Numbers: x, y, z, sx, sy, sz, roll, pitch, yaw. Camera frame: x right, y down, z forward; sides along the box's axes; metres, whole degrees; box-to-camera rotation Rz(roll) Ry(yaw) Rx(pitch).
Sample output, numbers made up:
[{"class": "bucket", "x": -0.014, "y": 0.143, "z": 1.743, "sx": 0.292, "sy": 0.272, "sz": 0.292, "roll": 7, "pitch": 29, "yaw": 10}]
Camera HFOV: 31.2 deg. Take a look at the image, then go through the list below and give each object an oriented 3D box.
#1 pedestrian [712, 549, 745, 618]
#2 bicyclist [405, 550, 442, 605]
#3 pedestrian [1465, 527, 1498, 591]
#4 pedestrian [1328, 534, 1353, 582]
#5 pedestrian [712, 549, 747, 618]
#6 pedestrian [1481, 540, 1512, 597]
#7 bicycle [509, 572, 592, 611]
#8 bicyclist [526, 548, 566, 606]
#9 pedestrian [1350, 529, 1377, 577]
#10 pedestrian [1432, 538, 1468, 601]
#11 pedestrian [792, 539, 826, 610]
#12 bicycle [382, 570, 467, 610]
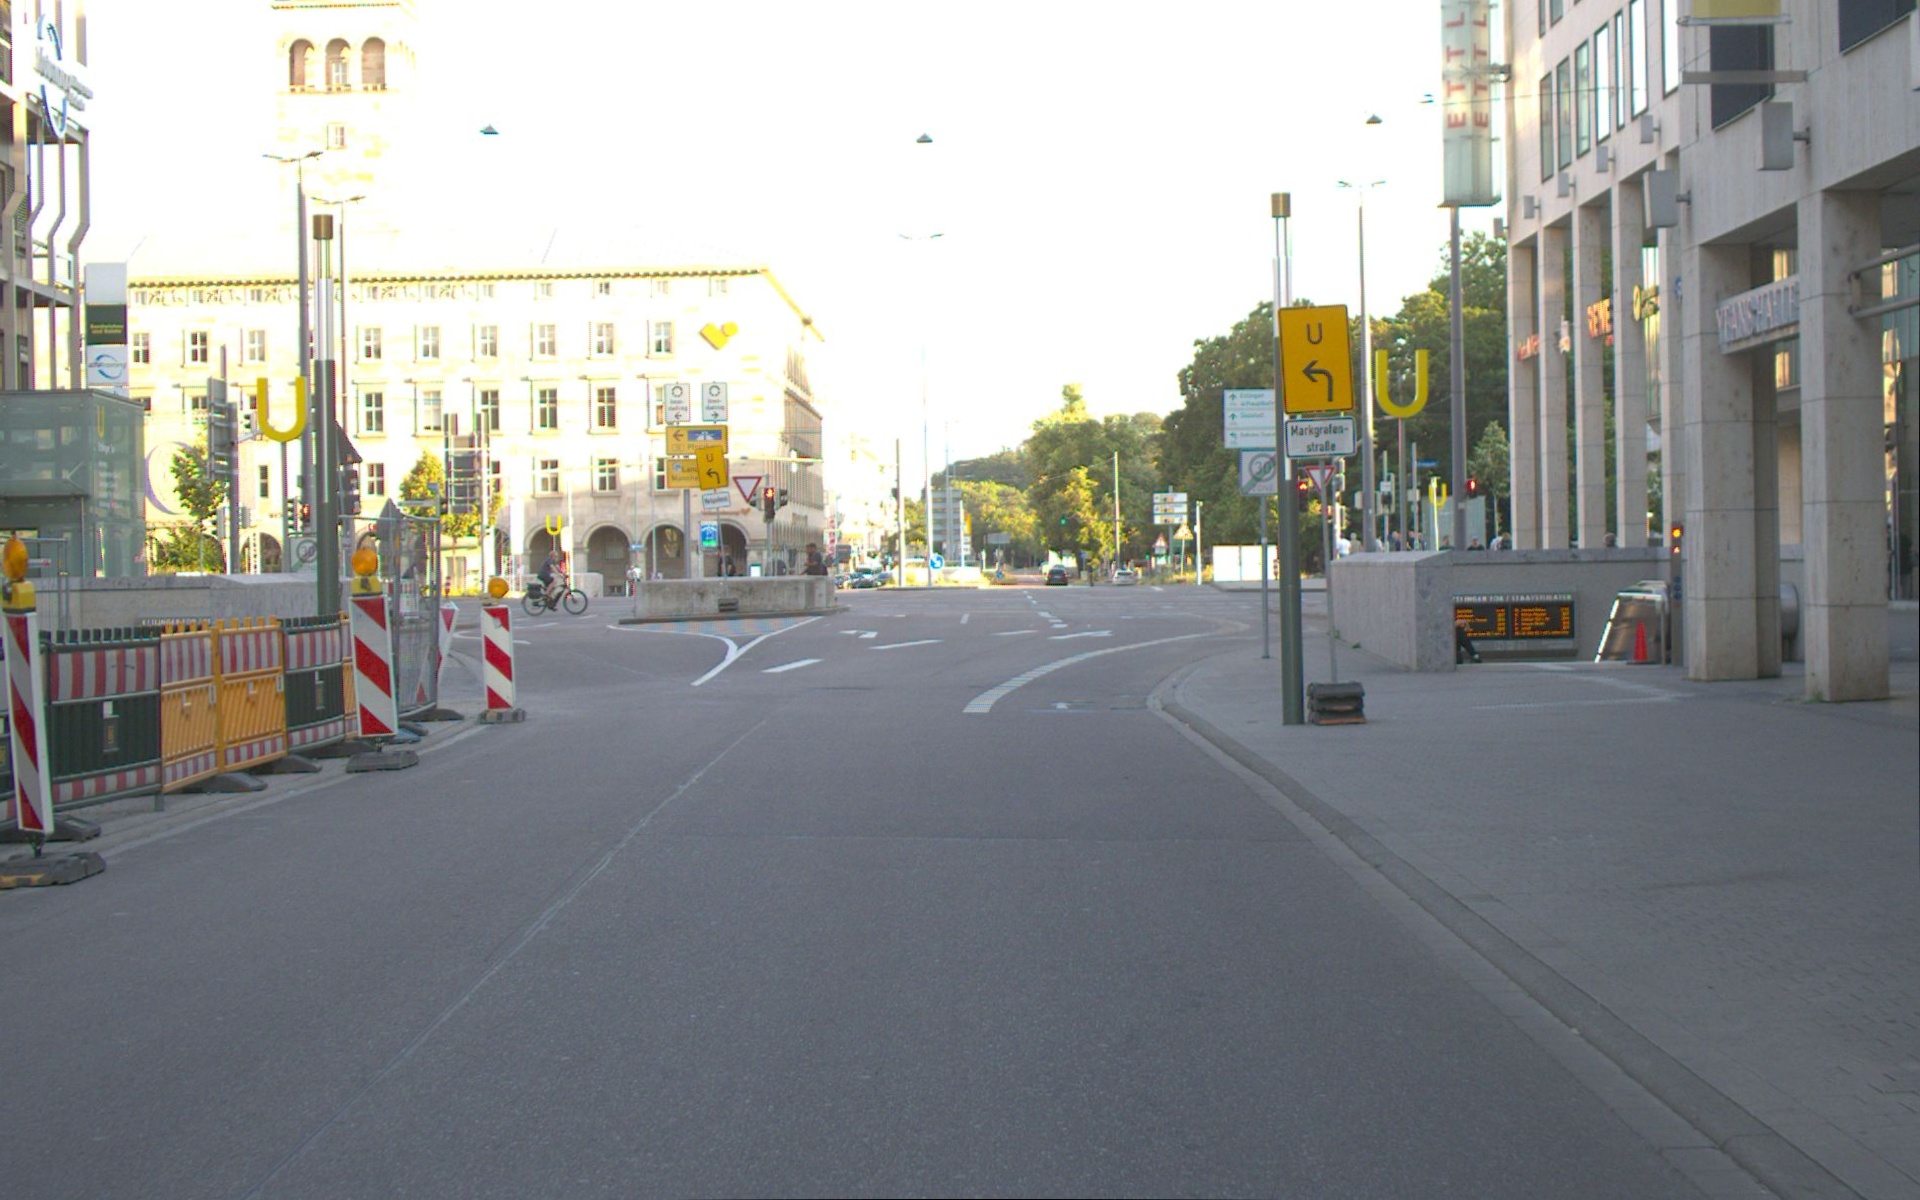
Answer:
[{"class": "pedestrian", "x": -6.120, "y": -0.435, "z": 91.038, "sx": 0.738, "sy": 1.771, "sz": 0.863, "roll": -3, "pitch": 1, "yaw": -2}, {"class": "bicyclist", "x": -14.978, "y": -0.624, "z": 95.913, "sx": 0.879, "sy": 1.525, "sz": 0.653, "roll": -1, "pitch": 1, "yaw": 2}, {"class": "pedestrian", "x": 14.882, "y": -1.167, "z": 98.157, "sx": 0.756, "sy": 1.771, "sz": 0.741, "roll": -3, "pitch": 1, "yaw": 2}, {"class": "pedestrian", "x": 13.814, "y": -1.541, "z": 124.794, "sx": 0.808, "sy": 1.724, "sz": 0.688, "roll": -1, "pitch": 1, "yaw": -1}, {"class": "pedestrian", "x": -6.032, "y": -0.438, "z": 89.983, "sx": 0.738, "sy": 1.771, "sz": 0.863, "roll": -3, "pitch": 1, "yaw": 0}, {"class": "pedestrian", "x": 16.327, "y": -0.955, "z": 104.579, "sx": 0.836, "sy": 1.724, "sz": 0.687, "roll": -1, "pitch": 1, "yaw": 14}, {"class": "bicycle", "x": -11.518, "y": -0.235, "z": 96.806, "sx": 2.242, "sy": 1.058, "sz": 0.653, "roll": -1, "pitch": 1, "yaw": 1}, {"class": "bicyclist", "x": -11.648, "y": -0.653, "z": 96.803, "sx": 1.019, "sy": 1.615, "sz": 0.653, "roll": -1, "pitch": 1, "yaw": 0}, {"class": "pedestrian", "x": 14.705, "y": -1.704, "z": 125.418, "sx": 0.808, "sy": 1.724, "sz": 0.688, "roll": -1, "pitch": 1, "yaw": -8}, {"class": "pedestrian", "x": 14.091, "y": -0.873, "z": 98.852, "sx": 0.860, "sy": 1.771, "sz": 0.741, "roll": -3, "pitch": 1, "yaw": 2}, {"class": "pedestrian", "x": -3.849, "y": -0.647, "z": 87.742, "sx": 0.738, "sy": 1.771, "sz": 0.863, "roll": -3, "pitch": 1, "yaw": -6}, {"class": "bicycle", "x": -14.926, "y": -0.285, "z": 95.914, "sx": 2.242, "sy": 1.058, "sz": 0.653, "roll": -1, "pitch": 1, "yaw": 2}]
